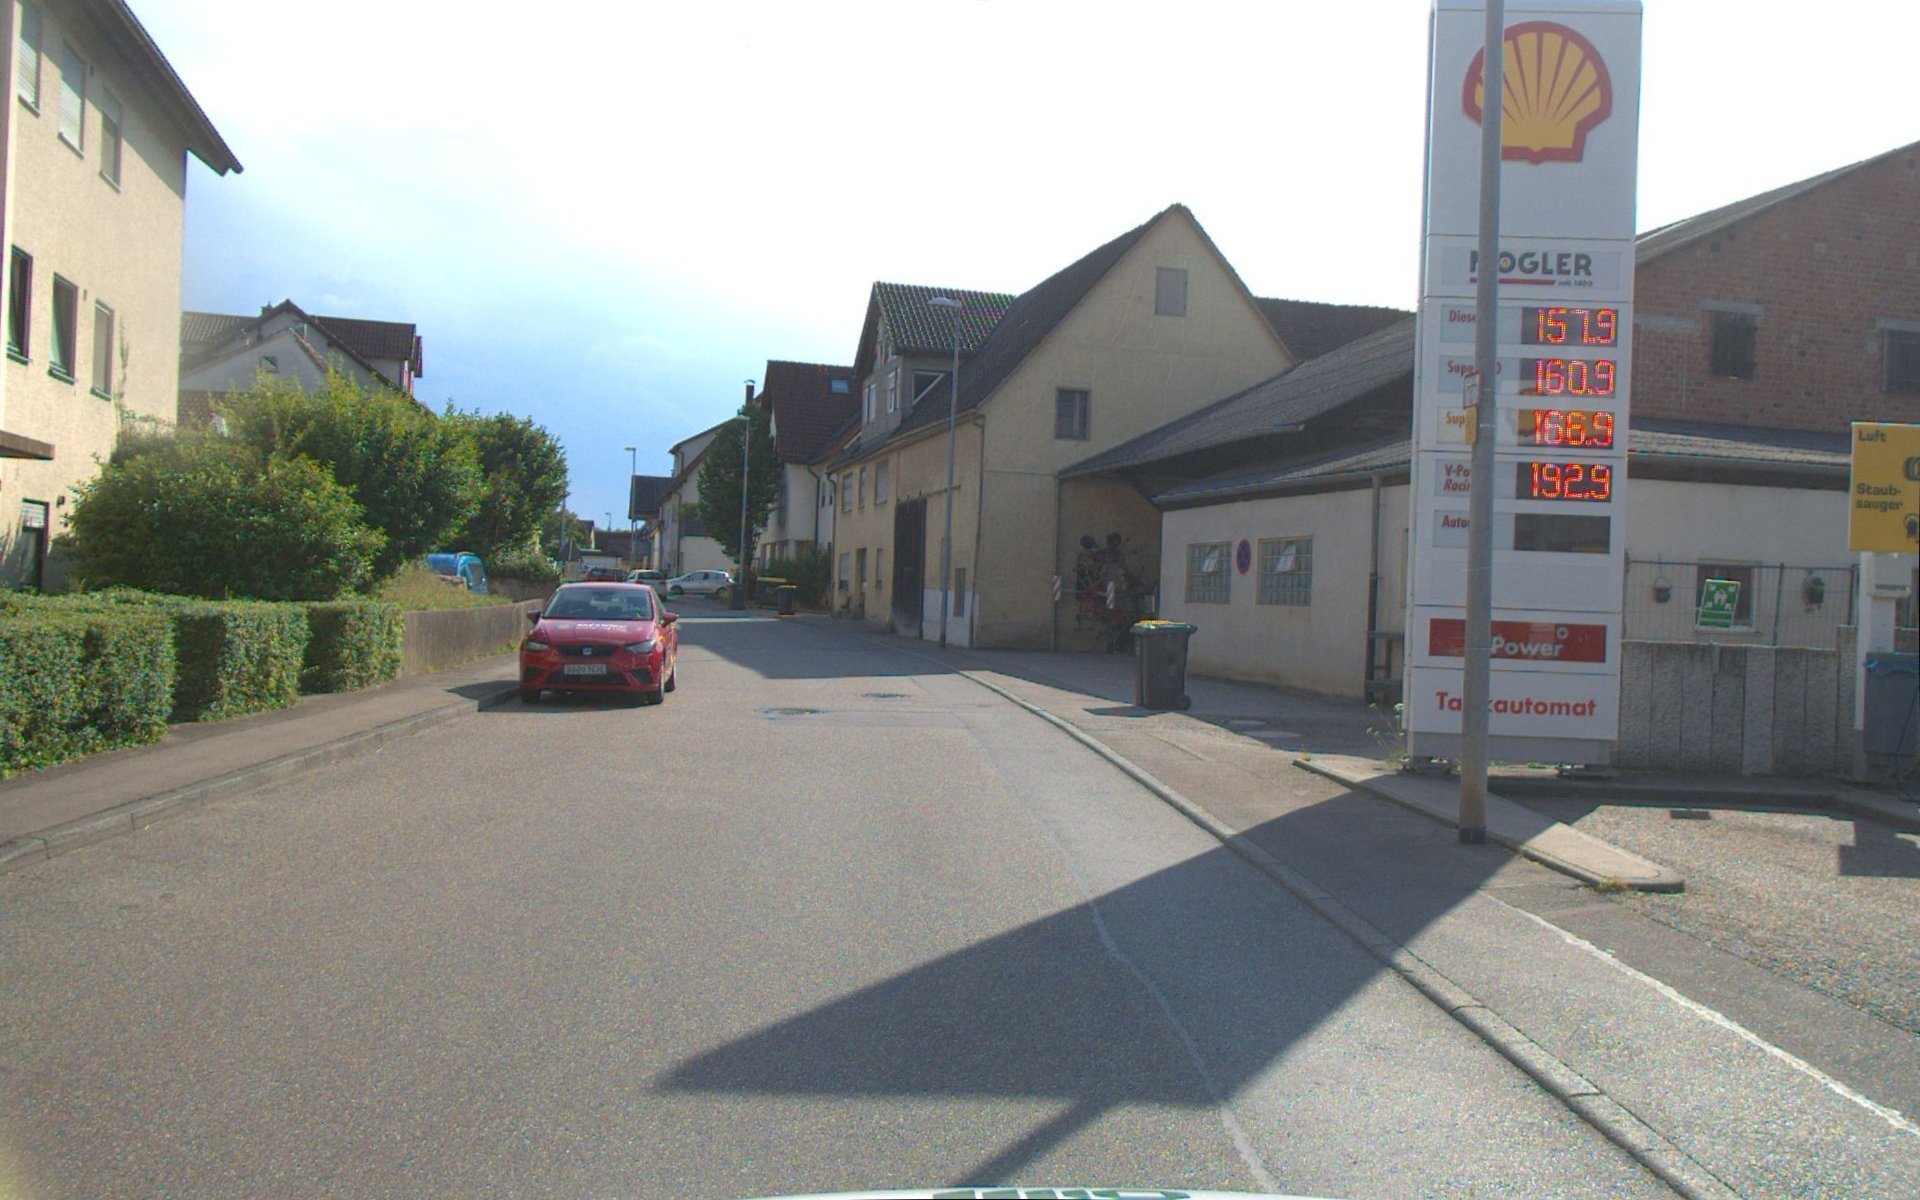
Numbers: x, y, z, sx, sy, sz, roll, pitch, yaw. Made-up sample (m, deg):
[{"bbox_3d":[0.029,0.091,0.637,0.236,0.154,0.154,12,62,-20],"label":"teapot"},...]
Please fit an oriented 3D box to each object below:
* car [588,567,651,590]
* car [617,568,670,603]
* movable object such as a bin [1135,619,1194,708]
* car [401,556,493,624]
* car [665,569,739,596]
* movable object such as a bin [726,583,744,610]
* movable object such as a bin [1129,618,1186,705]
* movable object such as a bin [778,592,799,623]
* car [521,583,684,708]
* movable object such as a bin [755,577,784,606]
[{"bbox_3d":[-22.470,-1.411,109.083,3.921,1.376,1.704,2,0,-15],"label":"car"},{"bbox_3d":[-15.438,-0.728,80.545,1.682,1.606,3.971,2,0,-24],"label":"car"},{"bbox_3d":[2.602,0.803,21.103,0.640,1.092,0.513,2,0,-3],"label":"movable object such as a bin"},{"bbox_3d":[-11.069,-0.195,35.836,1.333,1.396,3.191,0,0,-7],"label":"car"},{"bbox_3d":[-14.057,-0.948,90.376,3.913,1.376,1.707,2,0,-9],"label":"car"},{"bbox_3d":[-9.277,-0.128,68.239,0.642,1.092,0.511,2,0,-16],"label":"movable object such as a bin"},{"bbox_3d":[2.577,0.798,21.658,0.640,1.092,0.513,2,0,-3],"label":"movable object such as a bin"},{"bbox_3d":[-6.209,0.272,59.925,0.642,1.092,0.511,2,0,-16],"label":"movable object such as a bin"},{"bbox_3d":[-4.490,0.541,21.220,1.676,1.460,3.774,0,0,-7],"label":"car"},{"bbox_3d":[-8.060,-0.377,70.065,1.140,1.189,0.653,2,0,-12],"label":"movable object such as a bin"}]
